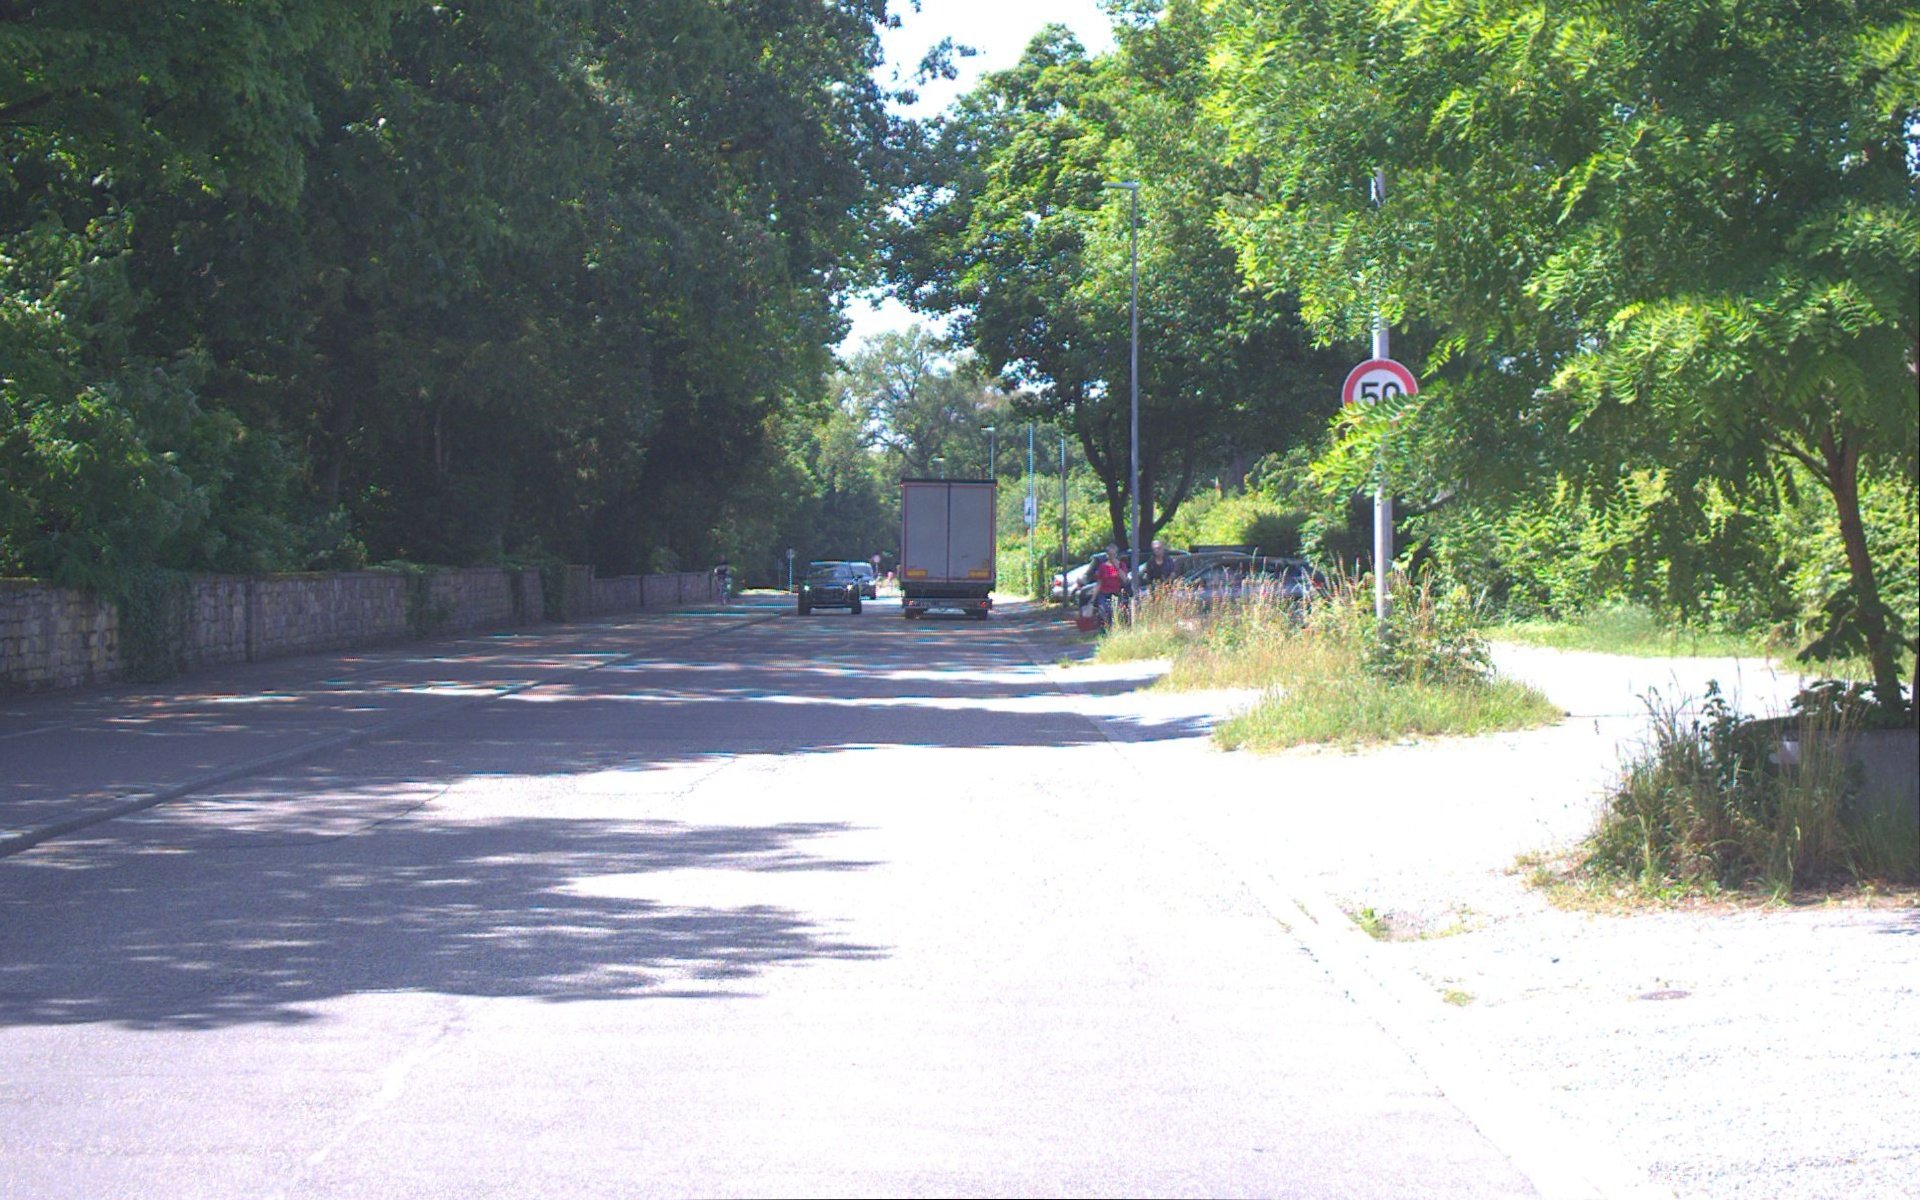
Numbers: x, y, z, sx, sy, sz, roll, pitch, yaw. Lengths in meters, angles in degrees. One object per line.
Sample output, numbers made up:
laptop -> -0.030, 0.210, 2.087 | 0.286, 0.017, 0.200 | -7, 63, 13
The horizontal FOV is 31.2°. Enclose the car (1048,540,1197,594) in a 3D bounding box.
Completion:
car -> 4.657, -0.955, 98.948 | 4.196, 1.440, 1.739 | -2, 1, 1

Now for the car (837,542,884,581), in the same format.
car -> -4.563, -1.784, 158.454 | 1.993, 1.678, 4.262 | -2, 1, 0

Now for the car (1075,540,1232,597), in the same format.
car -> 5.292, -0.878, 94.593 | 4.196, 1.440, 1.739 | -2, 1, 1

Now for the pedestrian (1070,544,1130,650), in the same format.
pedestrian -> 2.261, -0.054, 55.660 | 0.863, 1.671, 0.886 | -2, 1, -2

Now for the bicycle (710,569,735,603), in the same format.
bicycle -> -8.477, -0.509, 122.738 | 0.718, 1.155, 2.230 | -2, 1, 0

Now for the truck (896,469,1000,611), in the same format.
truck -> -0.325, -1.719, 97.641 | 2.733, 3.733, 13.246 | 0, 1, 0

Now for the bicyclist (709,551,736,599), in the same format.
bicyclist -> -8.479, -0.895, 122.751 | 0.832, 1.710, 0.957 | -2, 1, 0

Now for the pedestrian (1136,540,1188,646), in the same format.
pedestrian -> 3.340, -0.124, 56.929 | 0.739, 1.732, 0.886 | -2, 1, -2

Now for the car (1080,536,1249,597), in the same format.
car -> 5.227, -0.871, 88.192 | 4.196, 1.440, 1.739 | -2, 1, 1

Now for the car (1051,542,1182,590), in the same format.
car -> 5.128, -1.127, 112.775 | 4.196, 1.440, 1.739 | -2, 1, 1

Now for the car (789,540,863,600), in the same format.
car -> -4.008, -0.922, 103.544 | 1.993, 1.678, 4.262 | -2, 1, 0
